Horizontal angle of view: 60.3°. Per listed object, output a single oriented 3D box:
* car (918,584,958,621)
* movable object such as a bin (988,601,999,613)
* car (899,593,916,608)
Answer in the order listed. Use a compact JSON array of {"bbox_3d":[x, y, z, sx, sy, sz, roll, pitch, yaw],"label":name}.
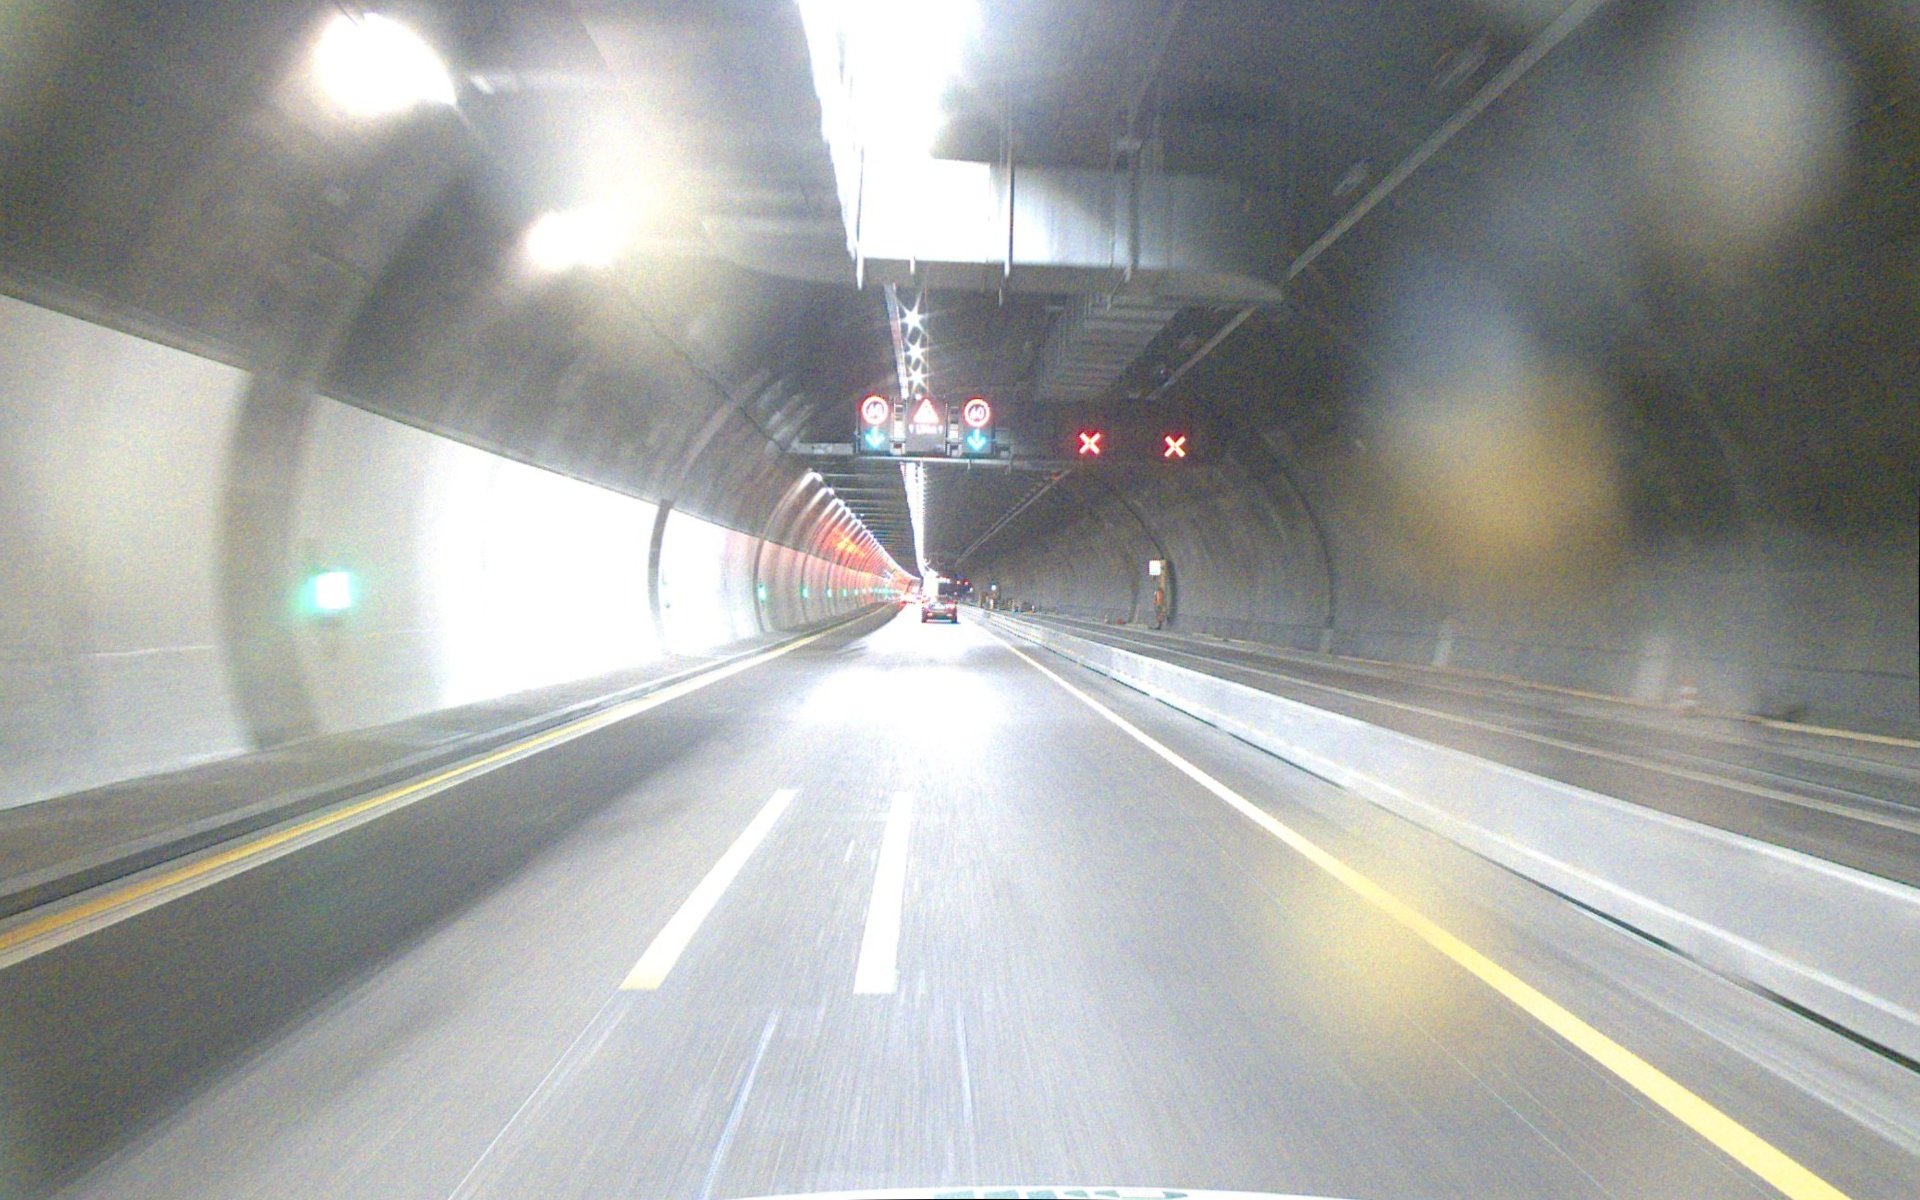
[{"bbox_3d":[-1.186,0.107,86.198,1.908,1.826,3.998,1,0,-3],"label":"car"},{"bbox_3d":[4.255,0.862,211.635,1.210,1.467,2.216,3,0,-2],"label":"movable object such as a bin"},{"bbox_3d":[-6.166,0.082,194.150,1.891,1.716,3.999,1,0,-1],"label":"car"}]
